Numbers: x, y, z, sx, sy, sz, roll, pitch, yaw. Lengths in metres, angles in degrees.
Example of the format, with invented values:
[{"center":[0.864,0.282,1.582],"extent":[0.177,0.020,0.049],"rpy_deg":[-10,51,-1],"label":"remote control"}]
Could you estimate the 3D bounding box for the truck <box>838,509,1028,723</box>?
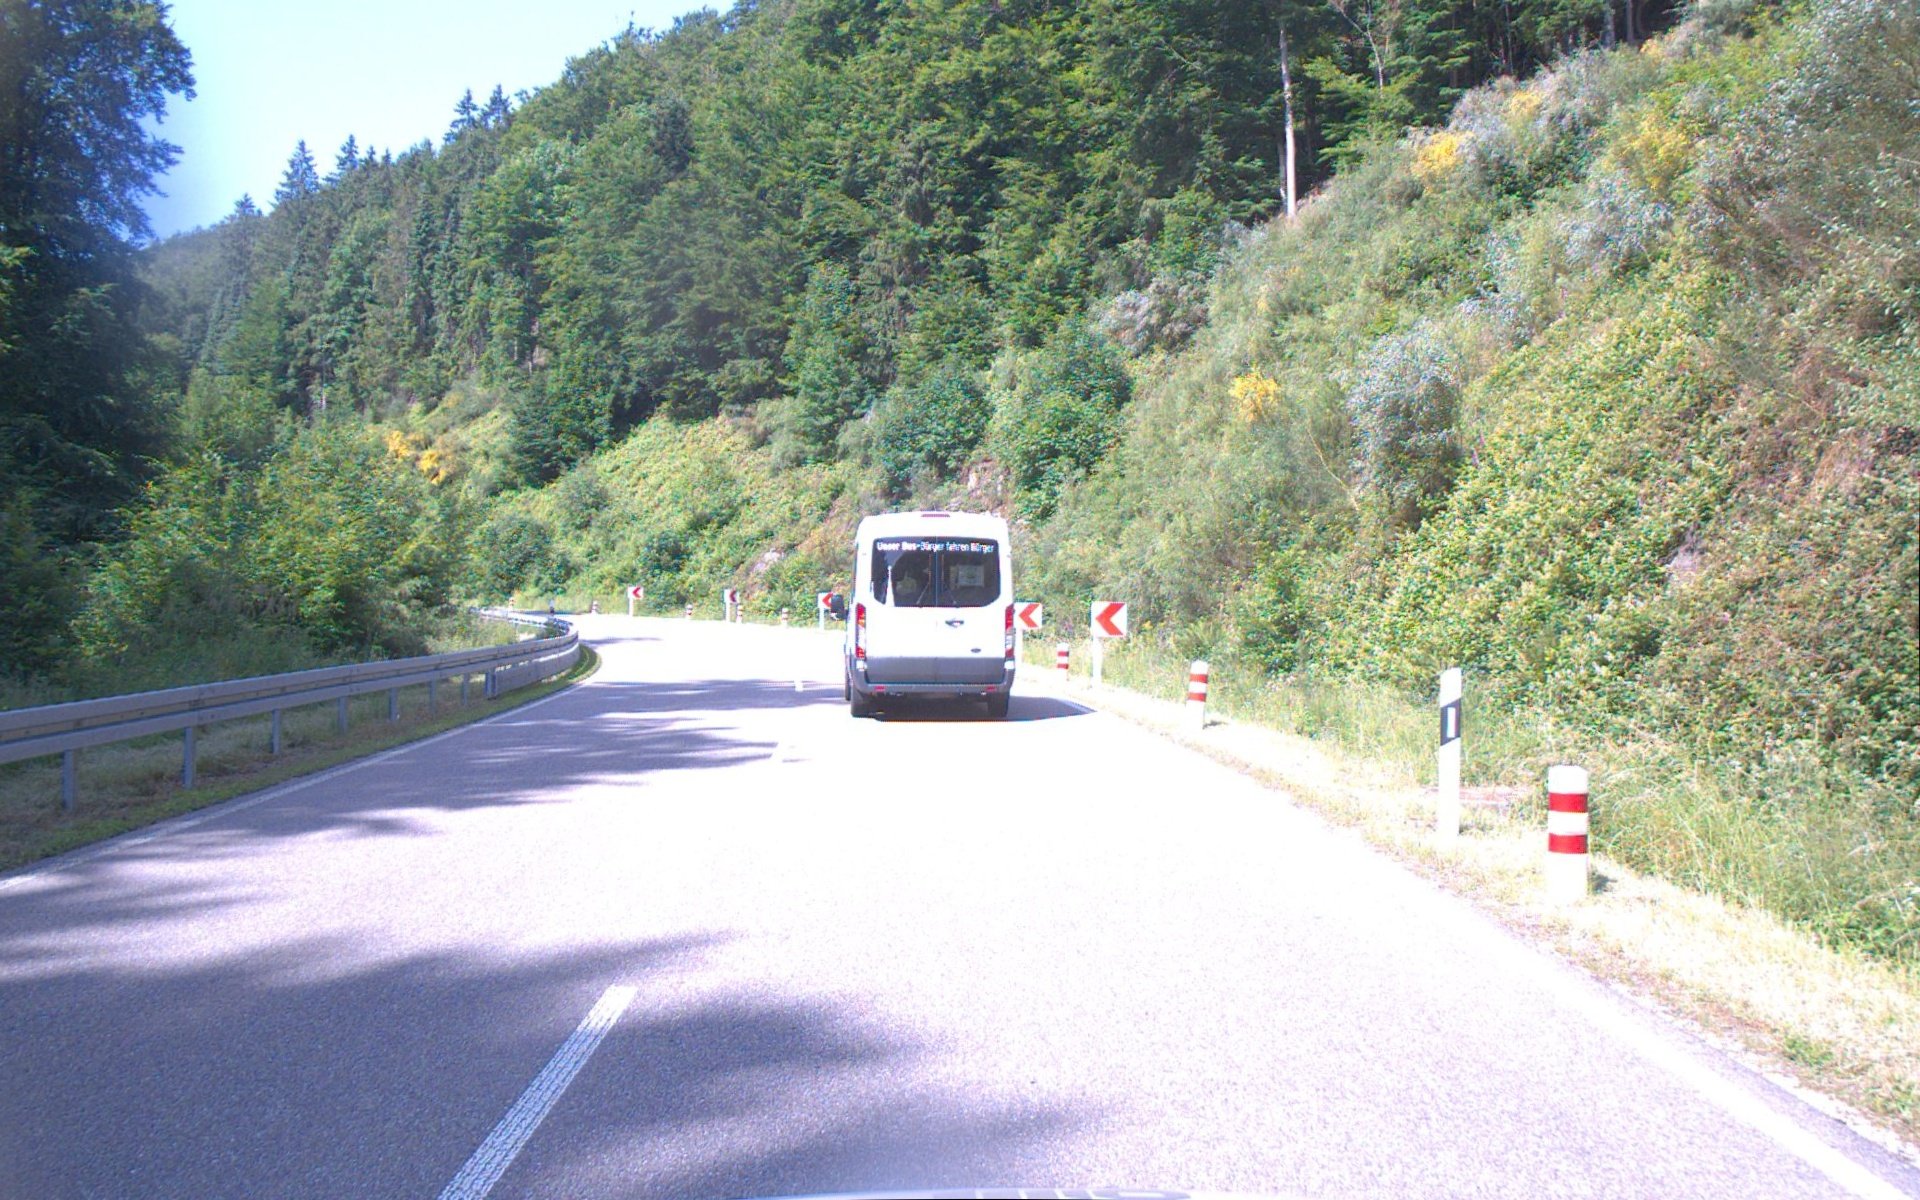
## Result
[{"center":[-0.487,0.184,21.910],"extent":[2.044,2.503,4.868],"rpy_deg":[0,0,-7],"label":"truck"}]
